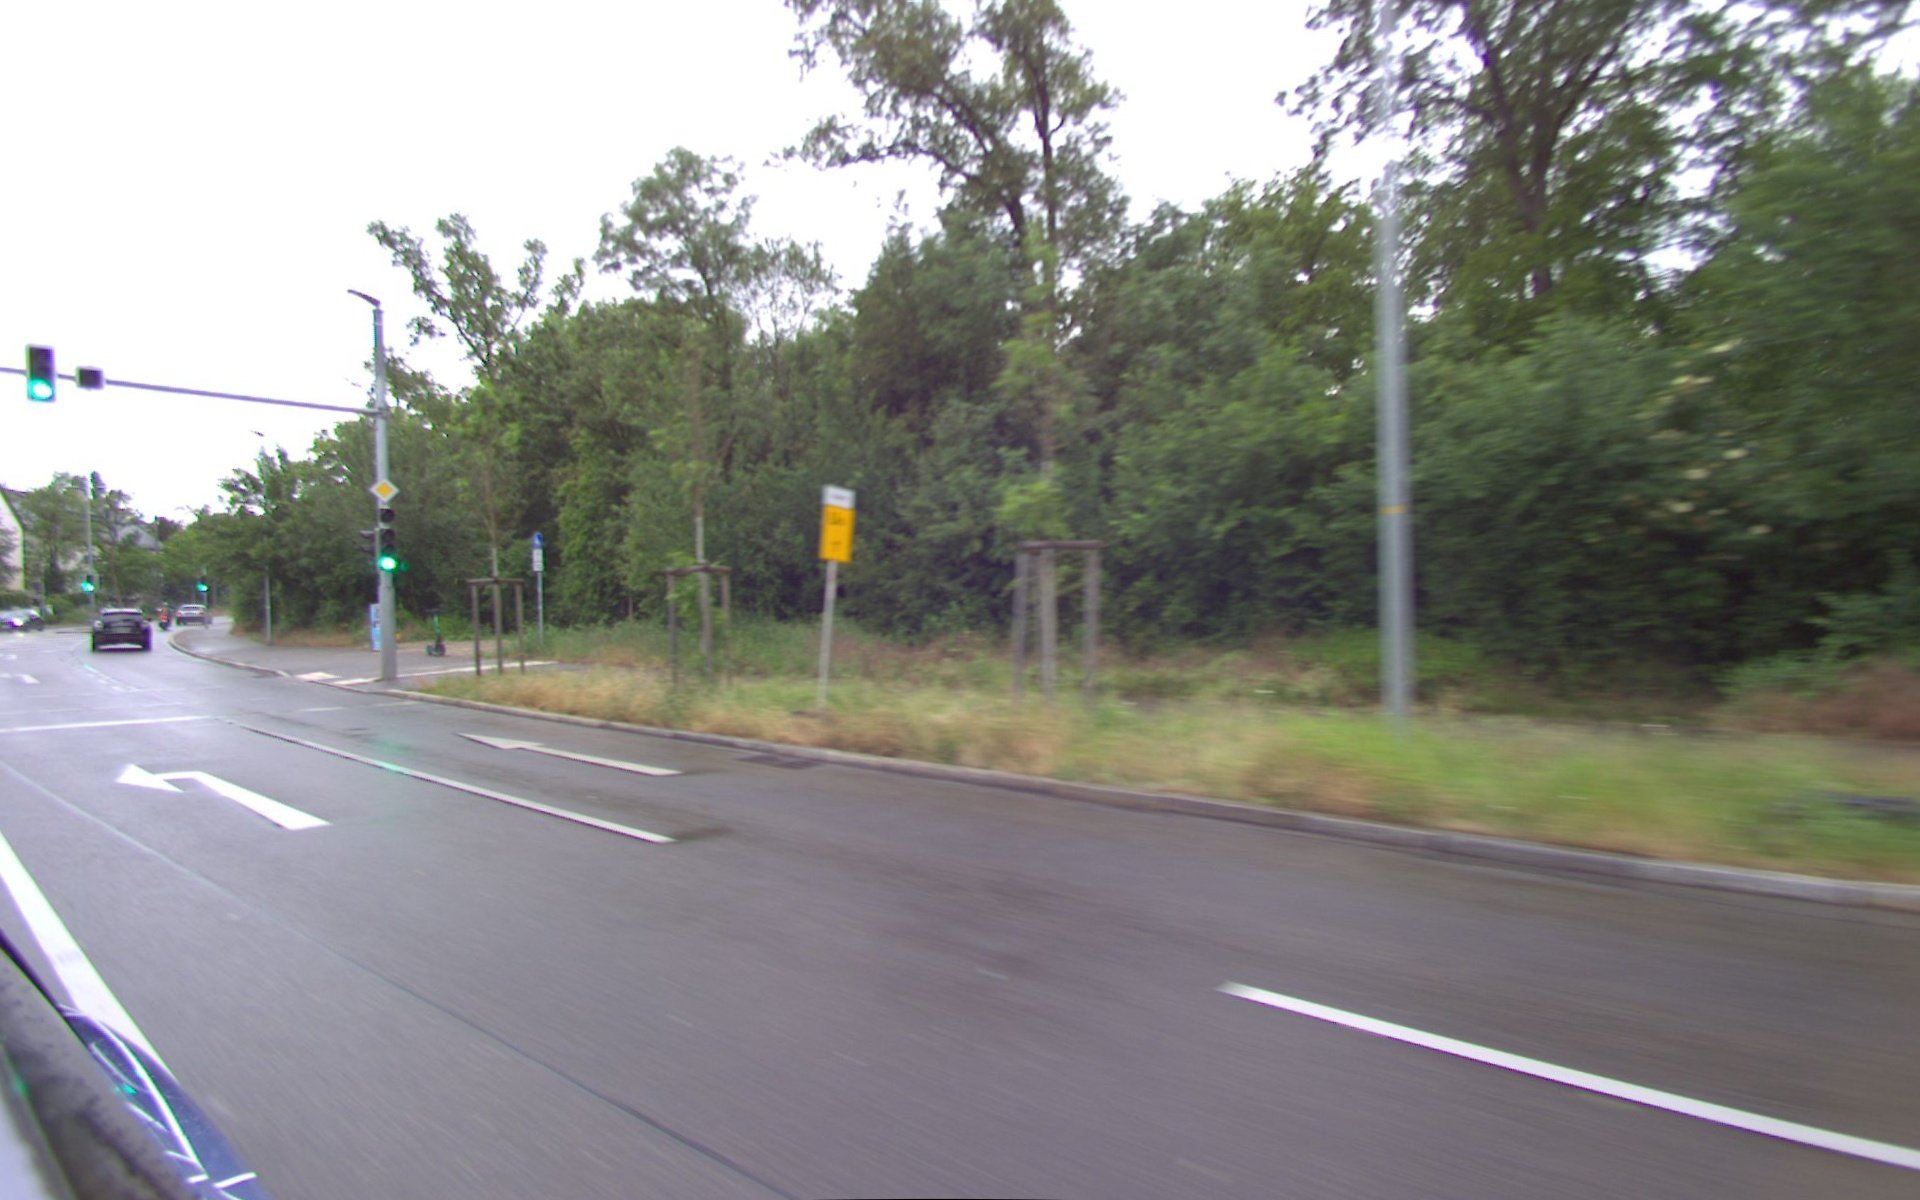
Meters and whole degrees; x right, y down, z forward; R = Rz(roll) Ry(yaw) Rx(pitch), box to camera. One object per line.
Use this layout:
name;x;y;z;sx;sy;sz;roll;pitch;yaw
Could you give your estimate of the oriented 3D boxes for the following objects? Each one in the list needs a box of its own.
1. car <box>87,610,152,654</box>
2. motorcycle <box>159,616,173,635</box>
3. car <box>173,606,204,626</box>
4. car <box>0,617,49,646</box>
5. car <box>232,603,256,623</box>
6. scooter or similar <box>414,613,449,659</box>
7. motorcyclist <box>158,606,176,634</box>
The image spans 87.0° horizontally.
car;-32.318;1.193;38.868;1.767;1.593;4.567;0;0;-42
motorcycle;-47.560;1.518;60.611;0.586;1.058;2.002;-1;0;-40
car;-54.207;1.086;71.074;1.718;1.362;4.218;0;-1;-38
car;-56.756;1.846;60.729;1.912;1.615;4.619;0;0;-26
car;-65.640;1.162;92.790;1.554;1.744;3.785;0;0;-32
scooter or similar;-14.498;0.968;27.754;0.511;1.221;1.471;-2;1;-41
motorcyclist;-47.545;1.184;60.658;0.737;1.644;0.928;0;-1;-45
